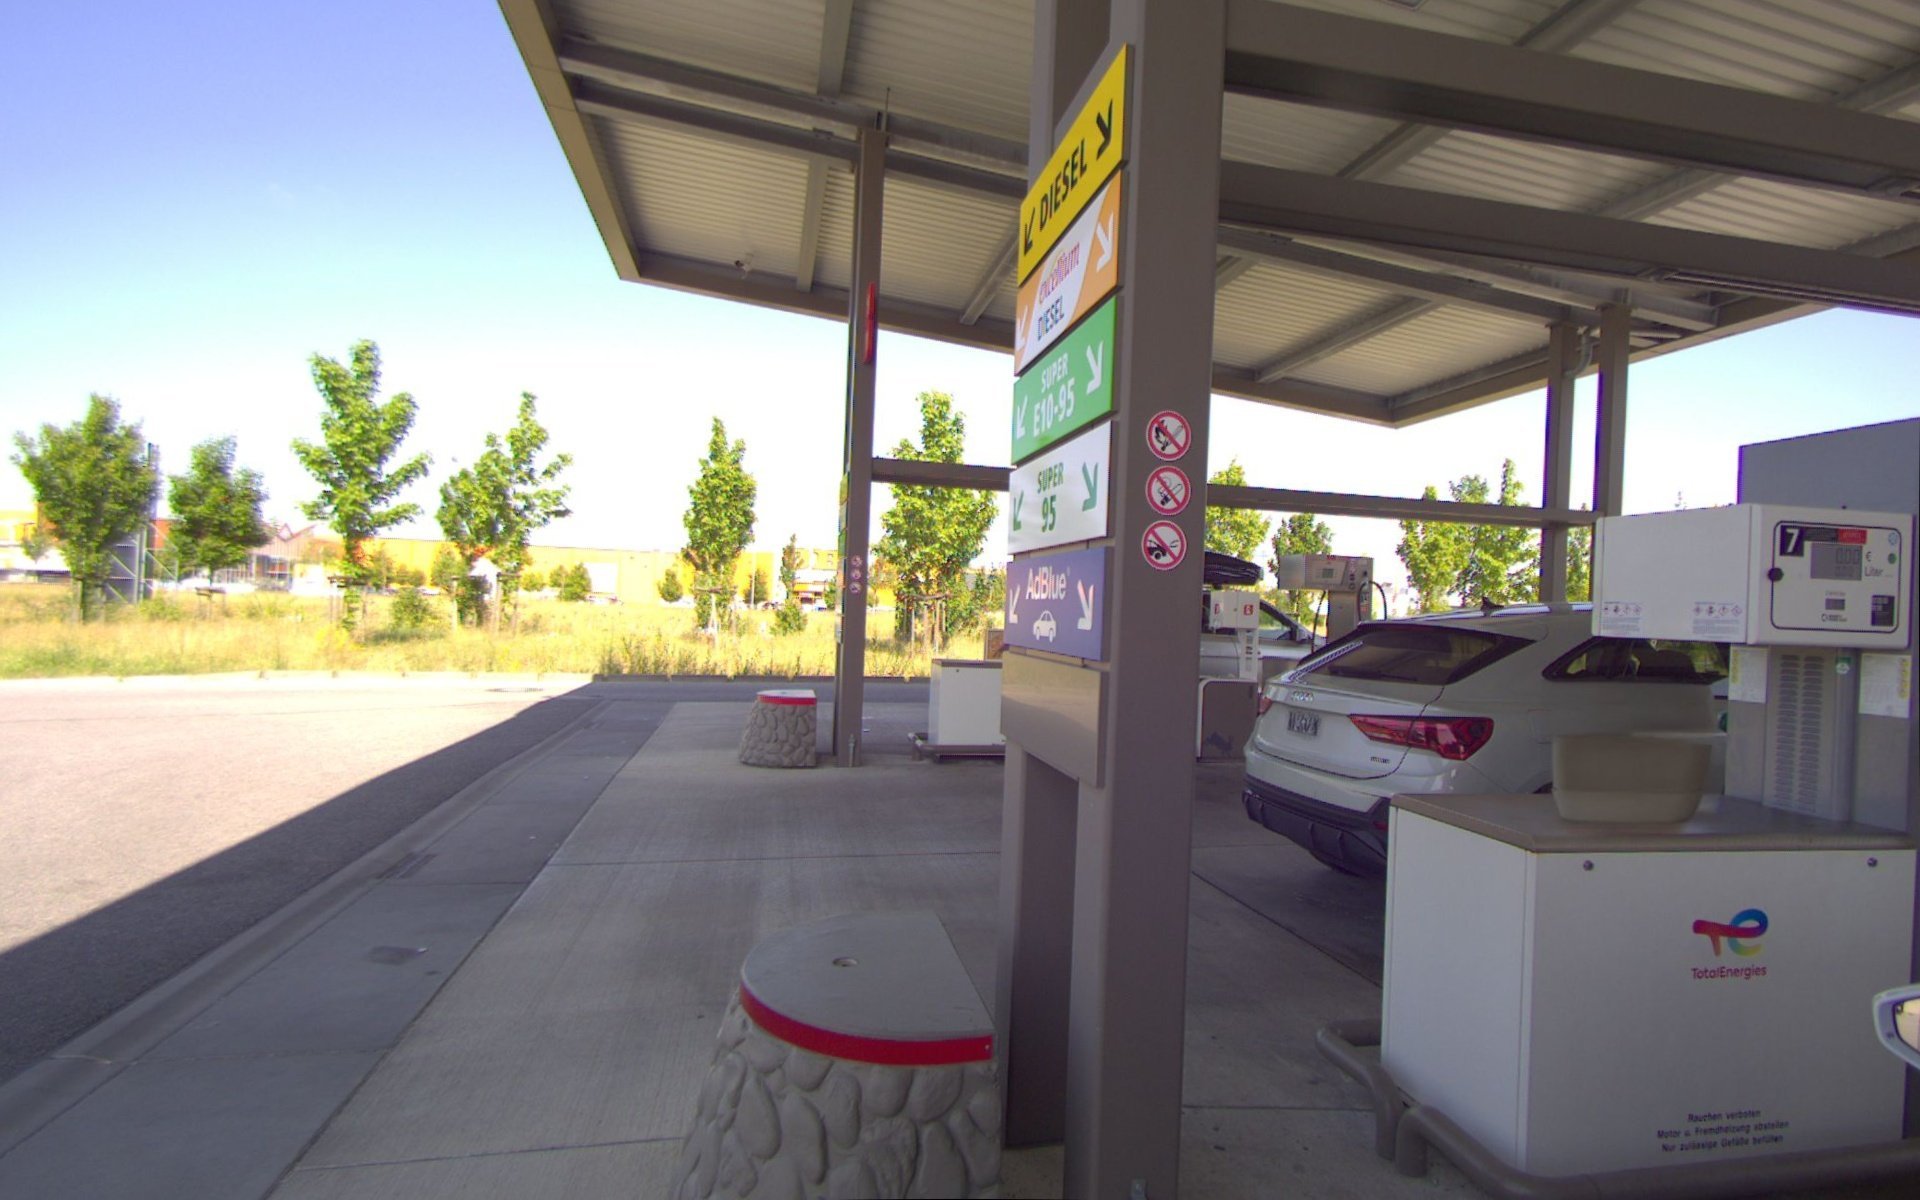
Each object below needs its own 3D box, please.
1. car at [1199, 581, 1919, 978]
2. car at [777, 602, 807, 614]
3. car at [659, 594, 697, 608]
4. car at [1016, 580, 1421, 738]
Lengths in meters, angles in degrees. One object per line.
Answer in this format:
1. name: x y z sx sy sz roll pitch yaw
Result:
1. car: 3.619 0.771 5.237 4.249 1.562 1.782 2 0 -11
2. car: -23.259 1.073 138.928 4.094 1.490 1.669 2 -1 -10
3. car: -34.596 0.119 123.393 4.306 1.568 1.791 2 -1 -10
4. car: 3.108 0.698 12.312 4.461 1.710 1.859 2 0 -16
